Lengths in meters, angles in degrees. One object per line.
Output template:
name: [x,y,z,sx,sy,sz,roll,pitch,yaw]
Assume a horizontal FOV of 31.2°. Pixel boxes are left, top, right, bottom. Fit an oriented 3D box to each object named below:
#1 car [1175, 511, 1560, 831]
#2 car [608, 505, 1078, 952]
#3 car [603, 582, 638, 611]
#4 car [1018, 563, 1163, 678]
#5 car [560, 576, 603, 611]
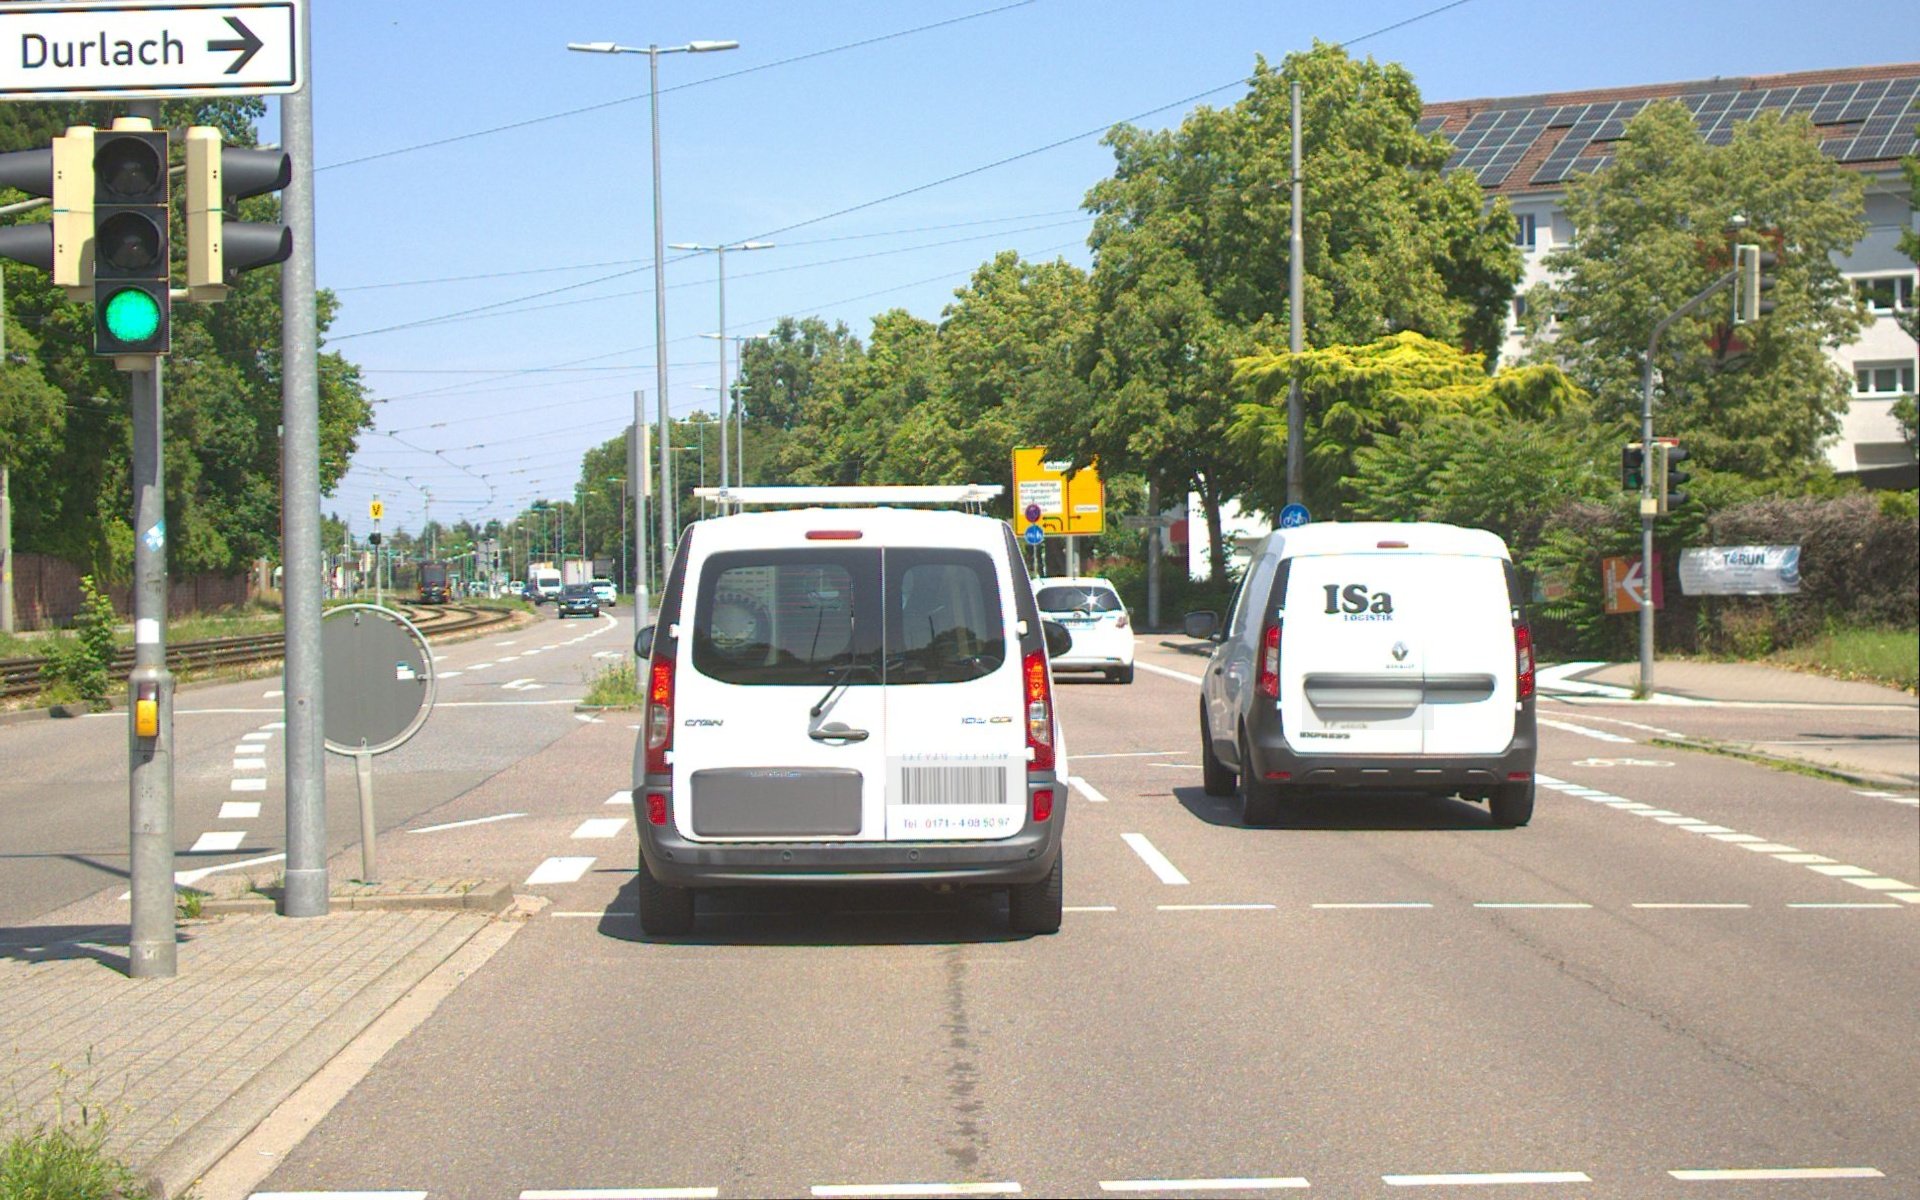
car: [2.435,0.394,21.470,1.727,1.782,4.065,1,0,-2]
car: [-0.516,0.483,15.663,1.821,1.734,4.396,1,1,-2]
car: [-22.143,-0.224,224.371,1.993,1.809,4.000,-1,1,-2]
car: [1.867,0.266,50.234,1.835,1.563,4.000,1,1,-2]
car: [-17.140,-0.300,155.807,1.697,1.507,4.066,-1,1,-3]
